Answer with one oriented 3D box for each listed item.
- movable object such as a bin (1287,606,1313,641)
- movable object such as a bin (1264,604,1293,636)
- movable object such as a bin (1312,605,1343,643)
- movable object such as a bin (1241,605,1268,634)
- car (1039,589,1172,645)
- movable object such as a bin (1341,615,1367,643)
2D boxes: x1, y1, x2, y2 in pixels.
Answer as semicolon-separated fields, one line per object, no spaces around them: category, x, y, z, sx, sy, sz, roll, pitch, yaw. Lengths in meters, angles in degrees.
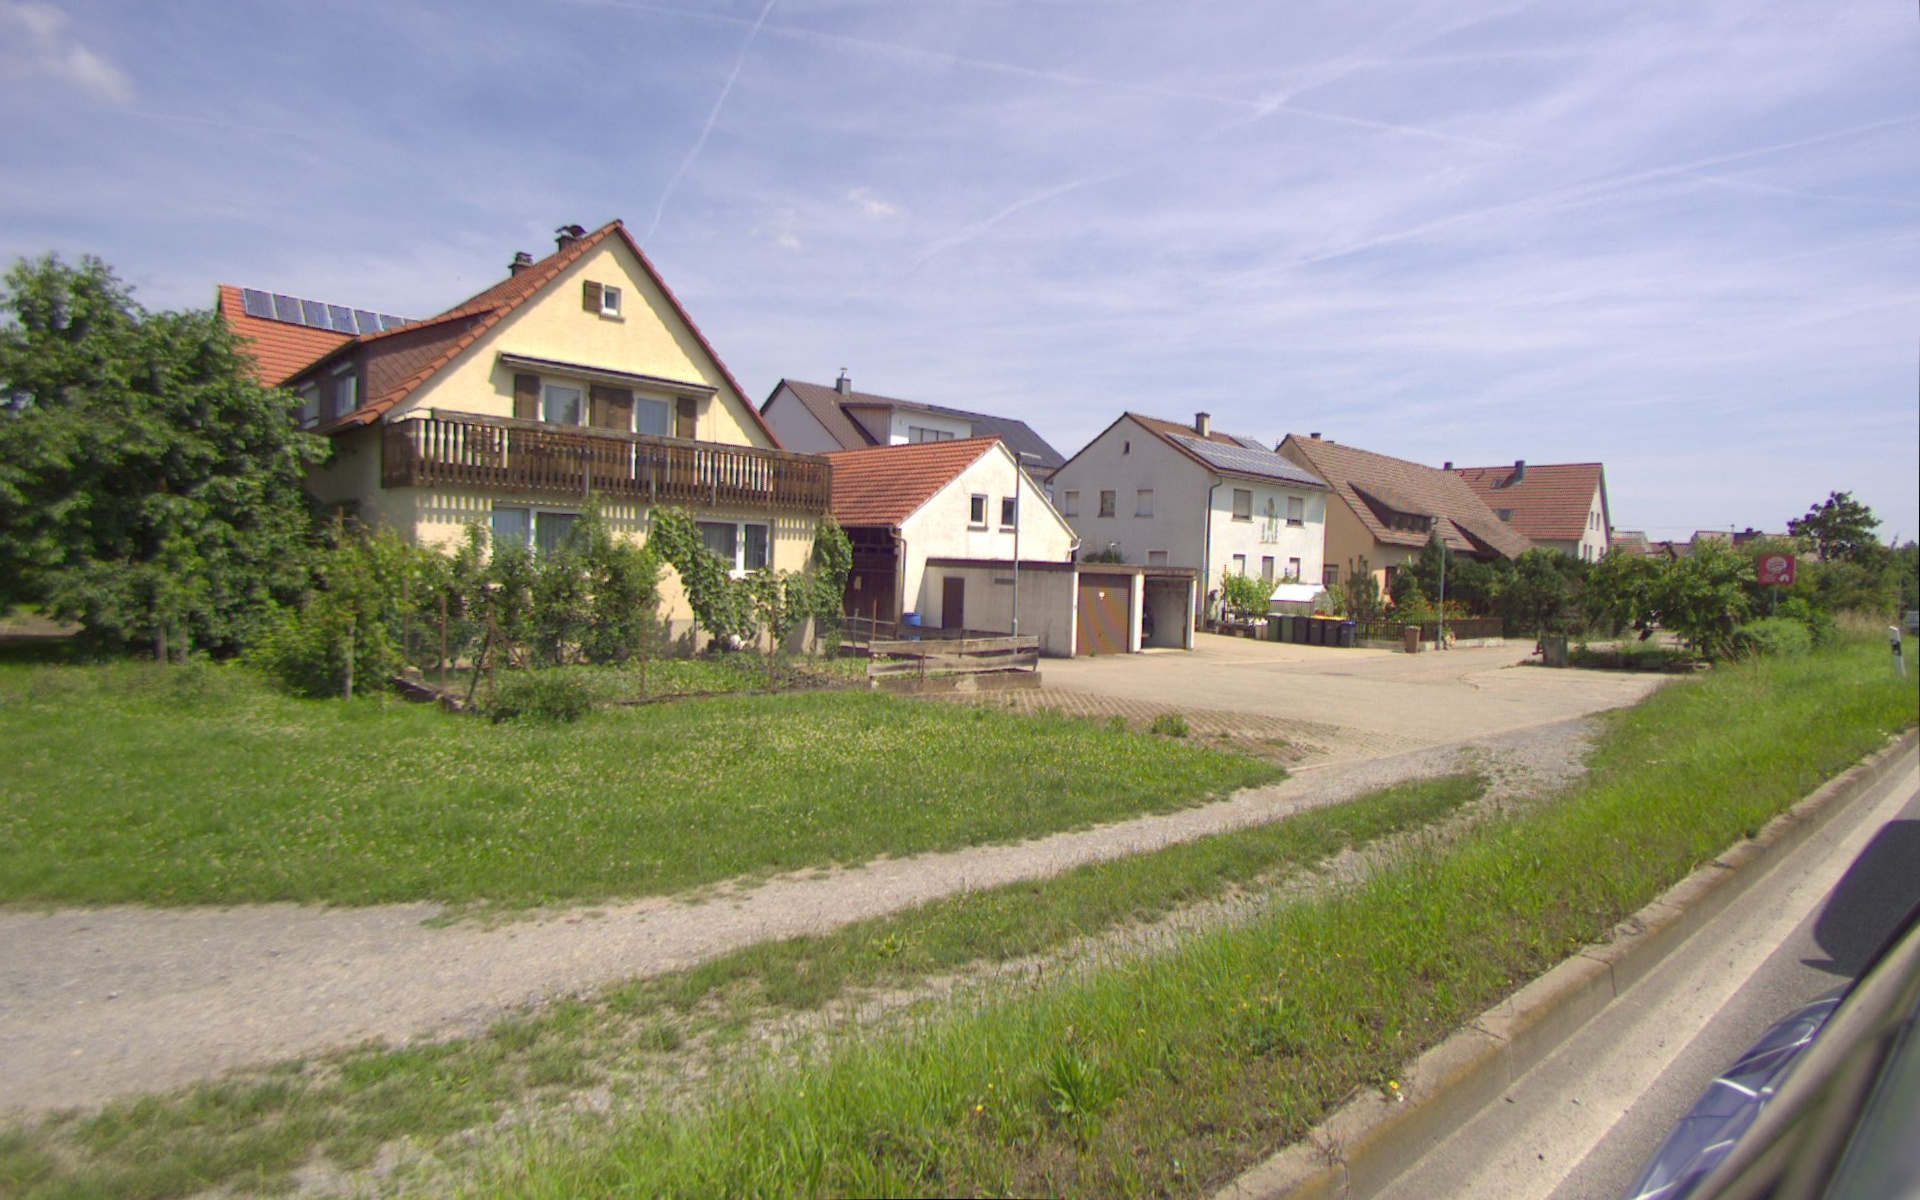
movable object such as a bin;13.258;0.915;39.481;0.806;1.355;0.677;1;0;-42
movable object such as a bin;12.627;0.786;40.146;0.874;1.262;0.744;1;0;-42
movable object such as a bin;13.913;0.890;38.269;0.930;1.387;0.764;1;0;-42
movable object such as a bin;11.849;0.777;40.697;0.816;1.171;0.739;1;0;-42
car;4.570;0.493;32.154;1.794;1.624;3.995;1;1;-40
movable object such as a bin;14.630;1.068;37.567;0.743;1.040;0.645;1;0;-42
